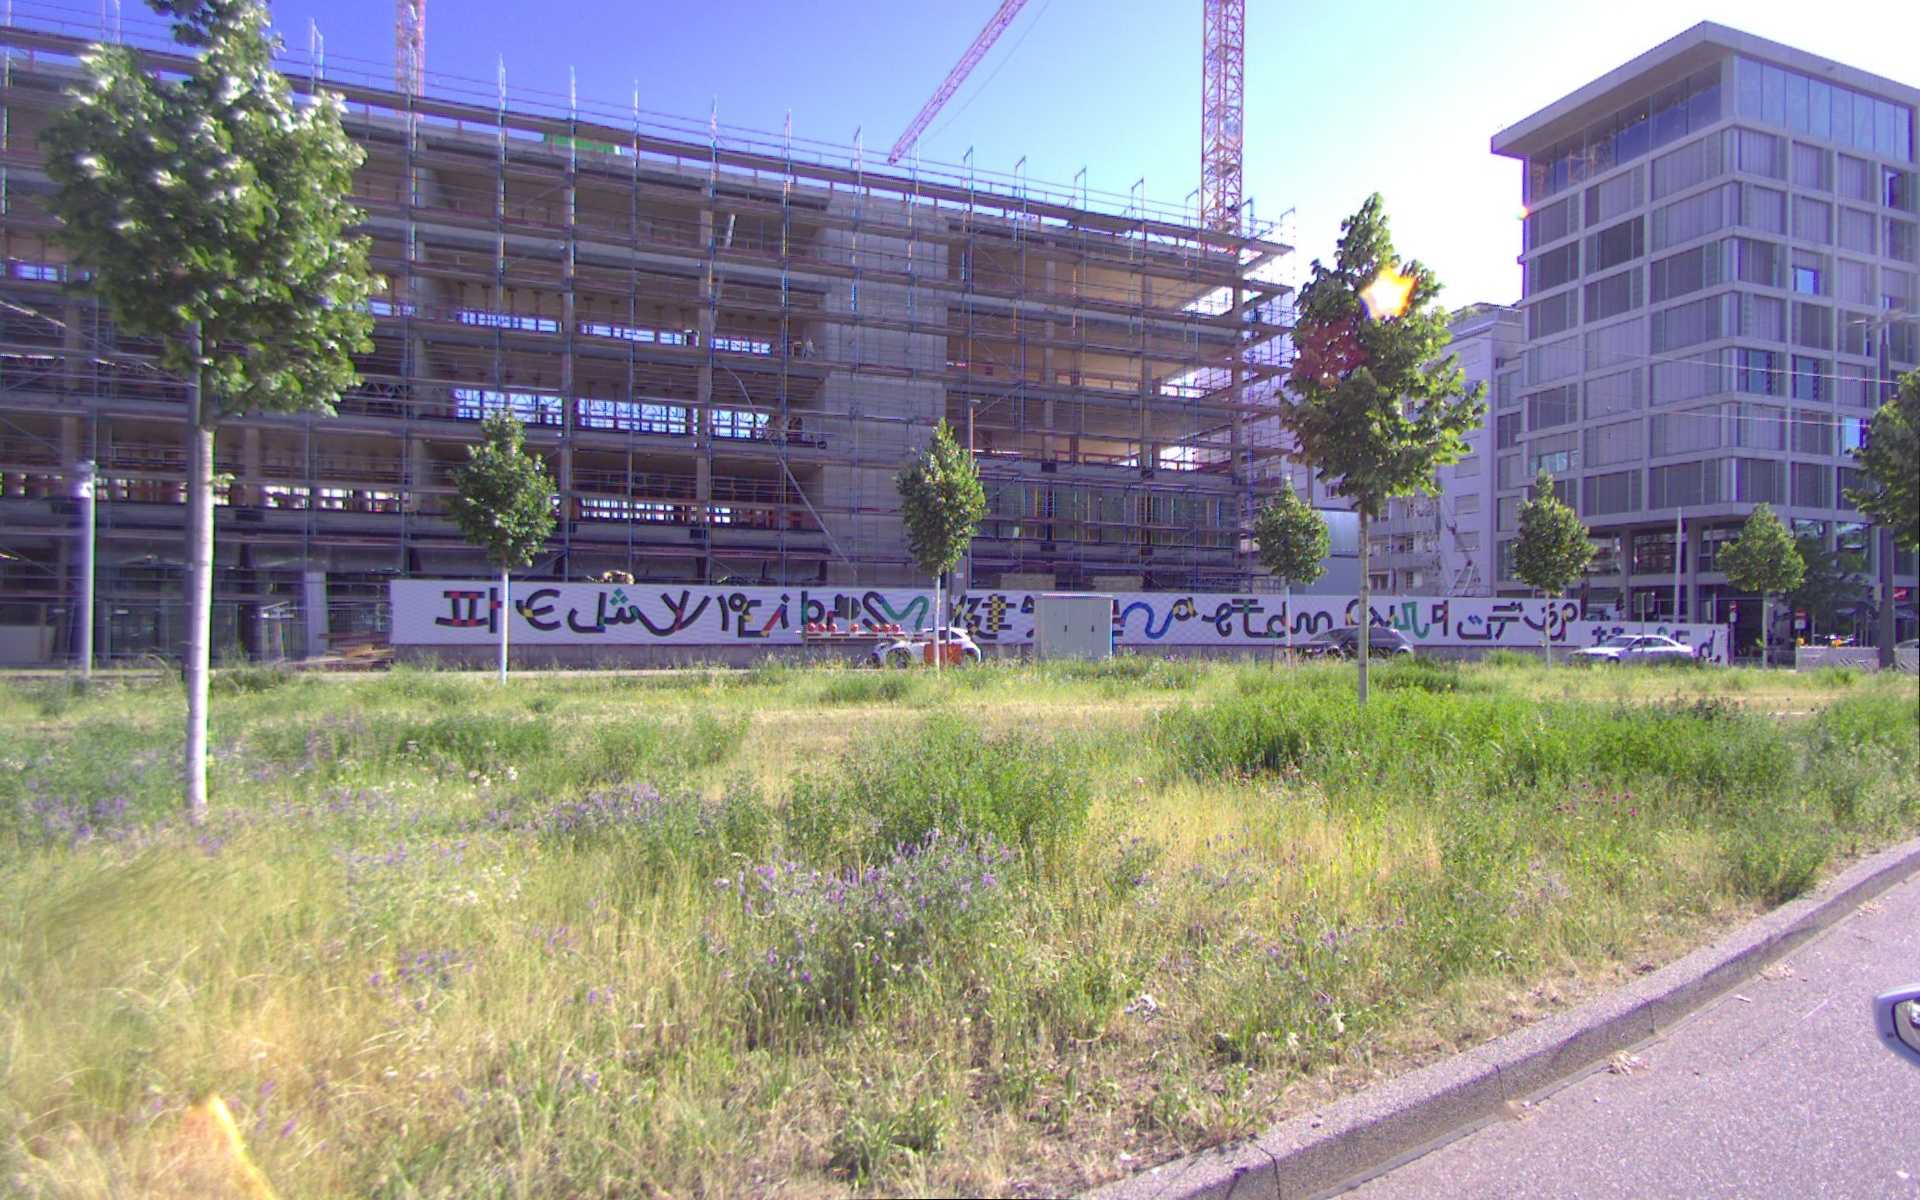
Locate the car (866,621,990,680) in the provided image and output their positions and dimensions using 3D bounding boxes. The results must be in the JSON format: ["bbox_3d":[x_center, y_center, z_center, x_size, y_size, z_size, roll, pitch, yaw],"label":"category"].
[{"bbox_3d":[-1.129,1.718,34.683,3.919,1.944,1.909,1,-1,-15],"label":"car"}]

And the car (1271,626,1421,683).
[{"bbox_3d":[13.103,1.839,34.200,4.449,1.816,1.995,1,-1,-13],"label":"car"}]

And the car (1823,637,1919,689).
[{"bbox_3d":[35.369,2.345,37.433,4.440,1.816,1.999,0,-1,24],"label":"car"}]

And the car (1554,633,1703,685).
[{"bbox_3d":[24.518,2.152,36.902,4.447,1.816,1.996,1,-1,-11],"label":"car"}]
